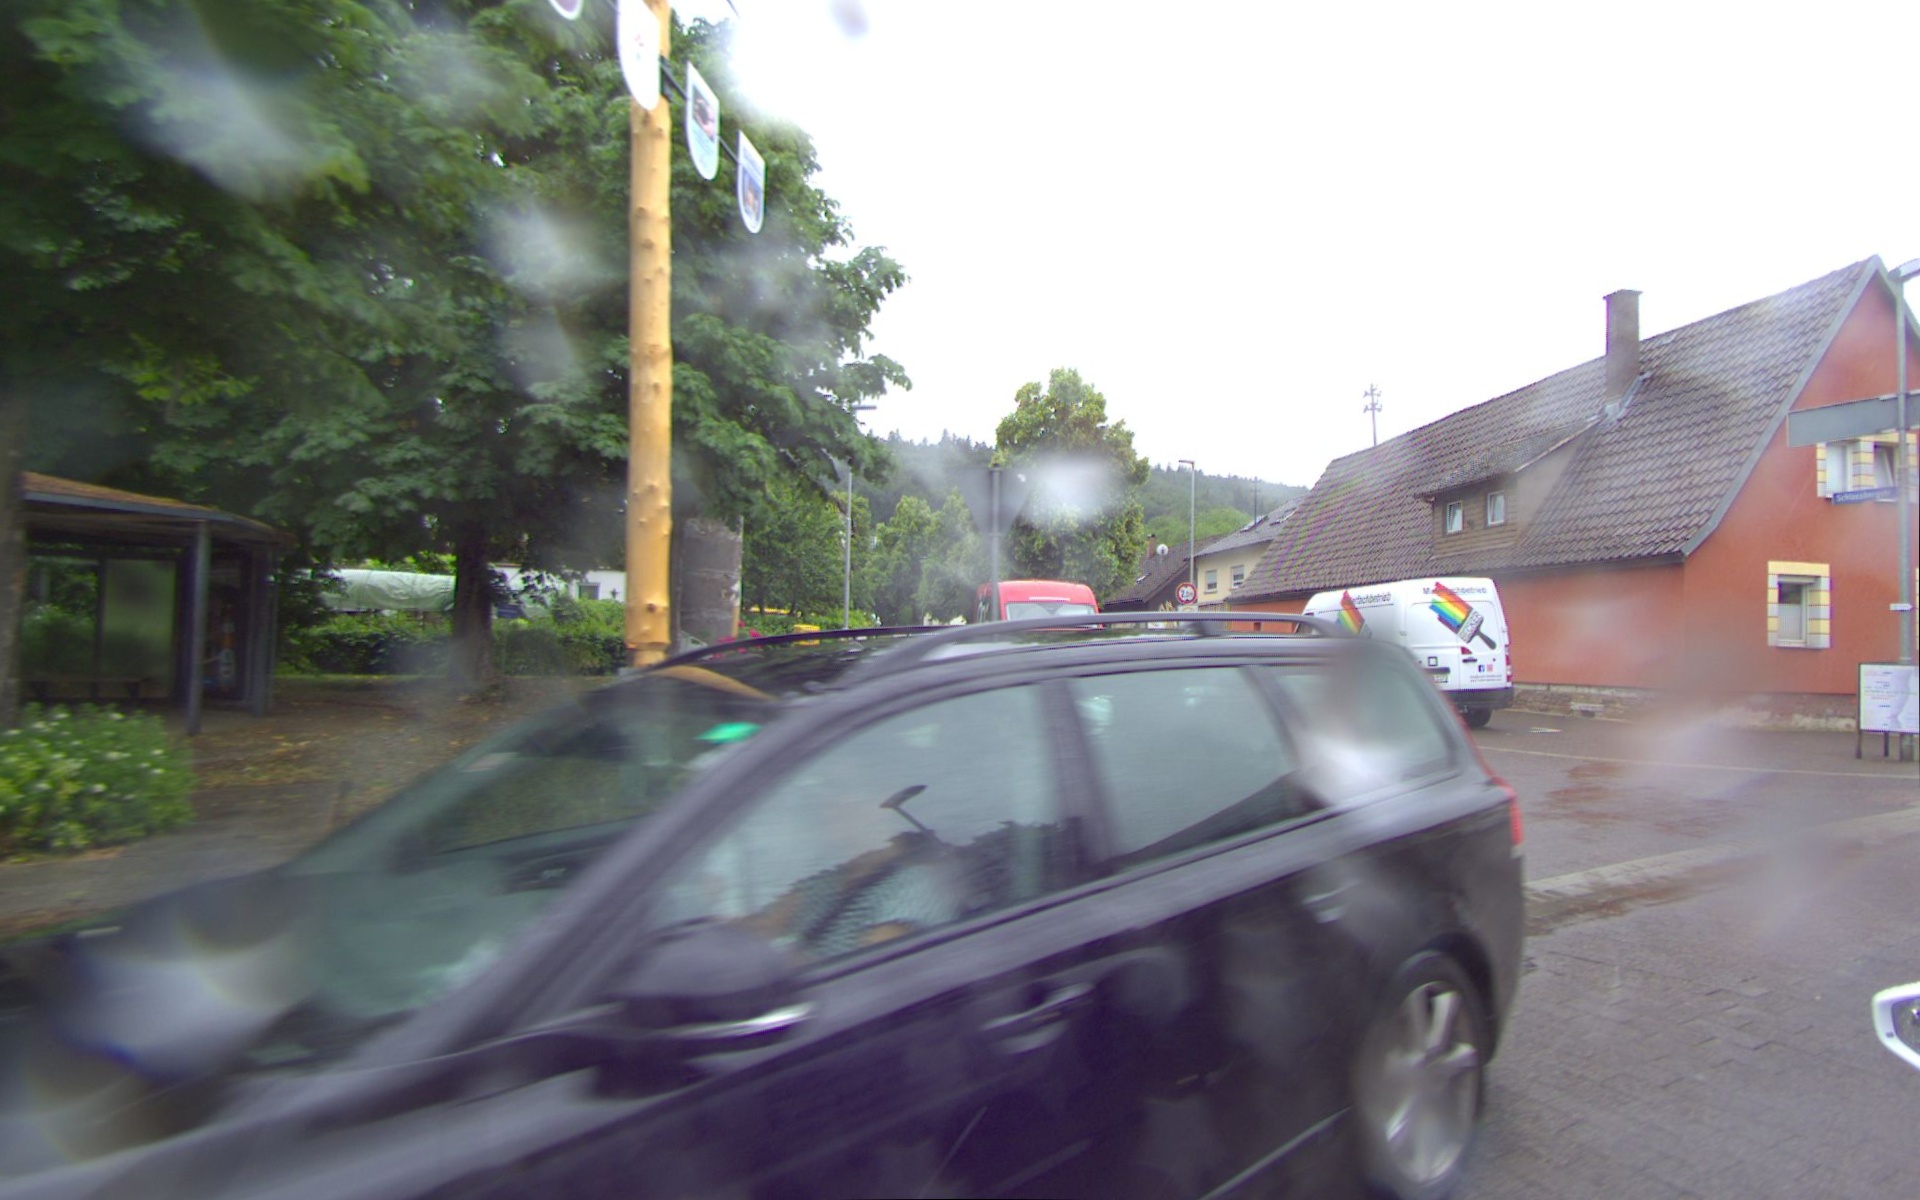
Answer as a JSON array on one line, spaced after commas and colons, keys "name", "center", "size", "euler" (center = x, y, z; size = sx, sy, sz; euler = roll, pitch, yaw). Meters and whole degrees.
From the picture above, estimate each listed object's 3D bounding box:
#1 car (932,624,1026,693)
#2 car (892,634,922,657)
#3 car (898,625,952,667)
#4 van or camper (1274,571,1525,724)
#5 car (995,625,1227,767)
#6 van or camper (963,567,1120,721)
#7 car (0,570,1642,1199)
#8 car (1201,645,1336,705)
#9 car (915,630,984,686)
[{"name": "car", "center": [0.397, 1.451, 25.592], "size": [1.768, 1.570, 3.807], "euler": [2, -2, -8]}, {"name": "car", "center": [-4.274, 3.600, 80.322], "size": [1.943, 1.638, 4.437], "euler": [1, 0, -8]}, {"name": "car", "center": [-1.546, 1.956, 43.330], "size": [1.780, 1.622, 3.755], "euler": [3, -2, -9]}, {"name": "van or camper", "center": [7.942, 0.869, 18.869], "size": [2.169, 2.467, 5.158], "euler": [0, -2, -4]}, {"name": "car", "center": [1.786, 1.138, 13.484], "size": [1.848, 1.570, 4.454], "euler": [1, -1, -9]}, {"name": "van or camper", "center": [1.385, 0.828, 19.742], "size": [2.114, 2.506, 5.875], "euler": [2, -2, -4]}, {"name": "car", "center": [-0.229, 0.791, 2.442], "size": [4.274, 1.496, 1.831], "euler": [2, -3, -37]}, {"name": "car", "center": [7.344, 1.749, 24.334], "size": [1.802, 1.297, 4.002], "euler": [0, -2, -4]}, {"name": "car", "center": [-0.395, 1.778, 31.300], "size": [1.767, 1.570, 3.809], "euler": [2, -2, -6]}]
